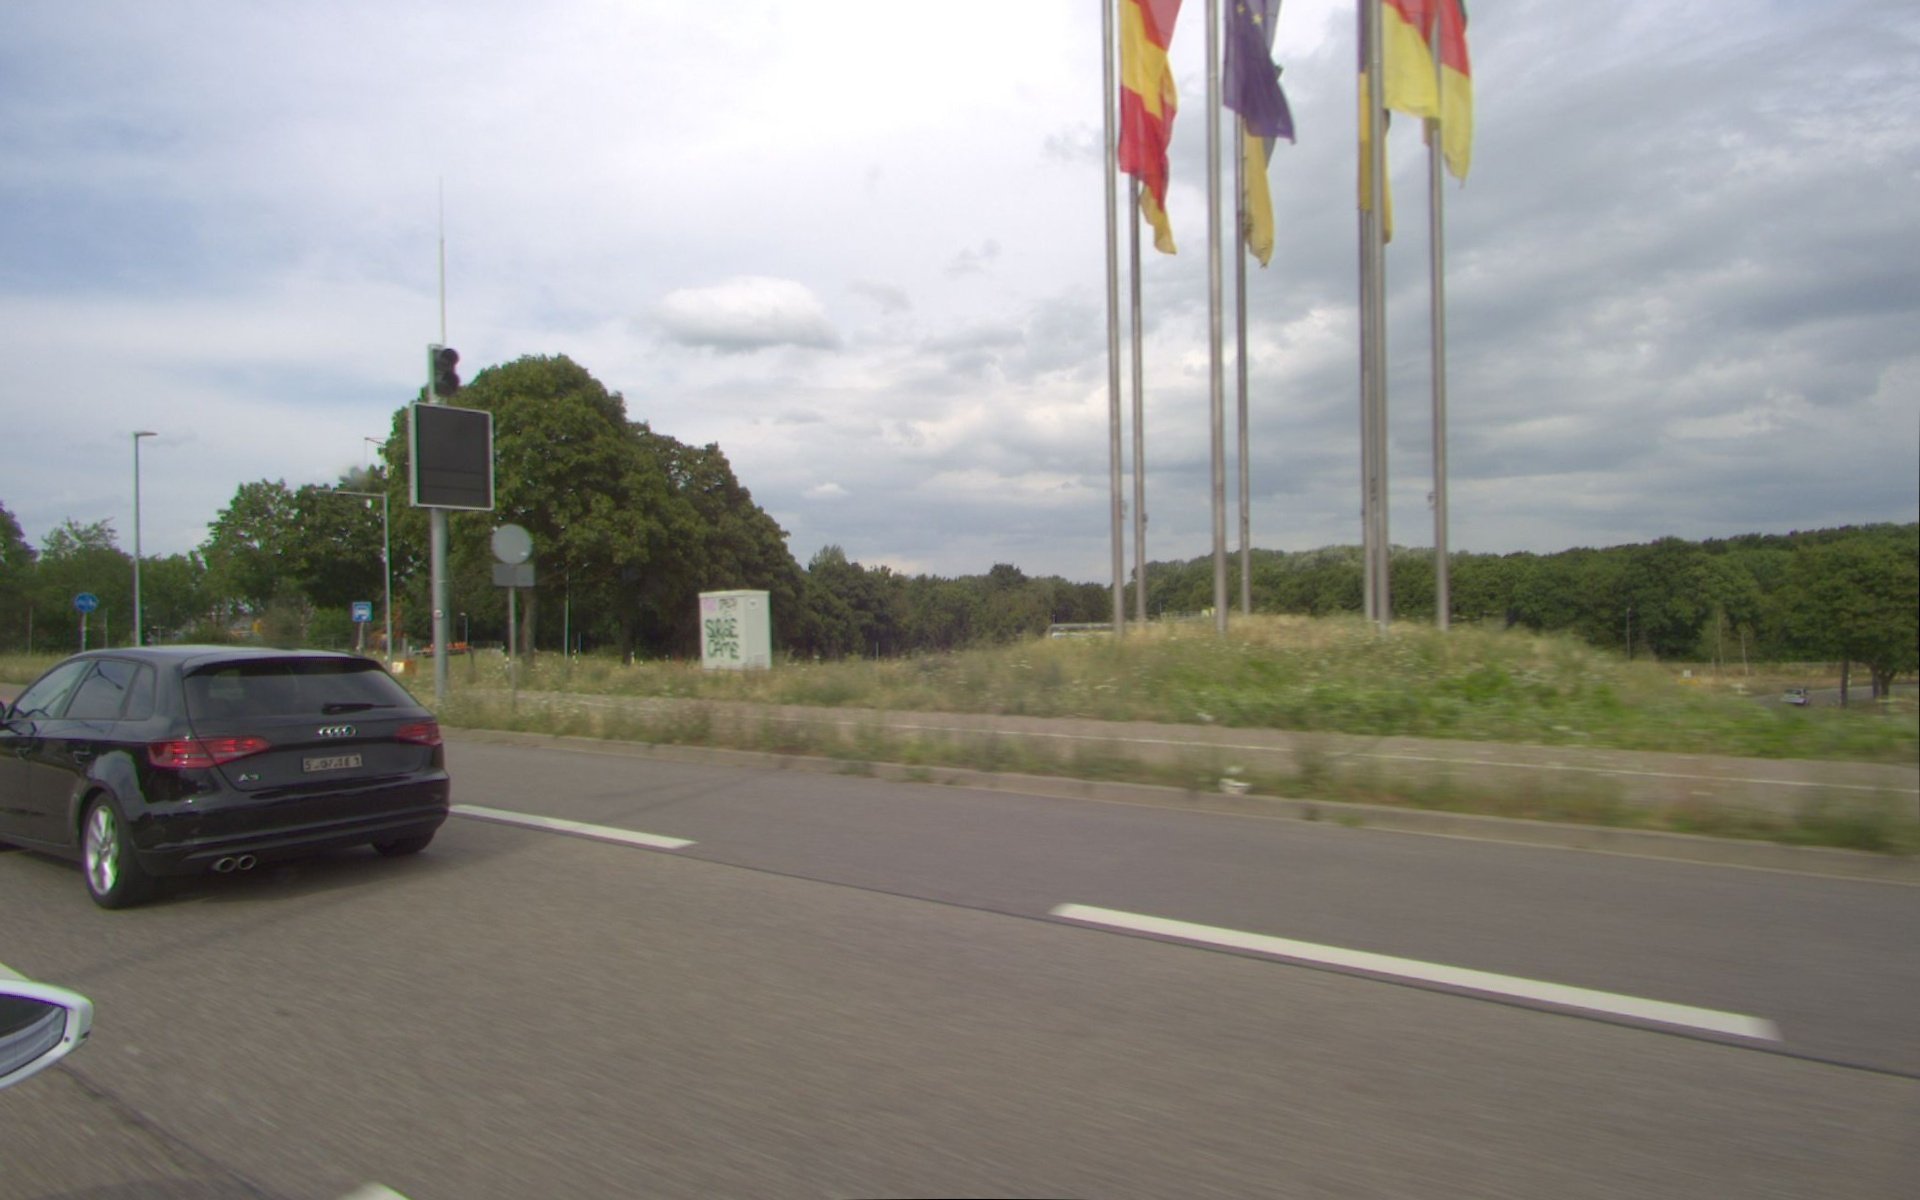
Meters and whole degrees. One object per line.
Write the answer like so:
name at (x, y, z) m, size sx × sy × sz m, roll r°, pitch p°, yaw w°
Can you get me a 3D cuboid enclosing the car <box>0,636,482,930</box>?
car at (-5.221, 0.962, 6.730) m, size 4.055 × 1.413 × 1.728 m, roll -1°, pitch -2°, yaw 32°
